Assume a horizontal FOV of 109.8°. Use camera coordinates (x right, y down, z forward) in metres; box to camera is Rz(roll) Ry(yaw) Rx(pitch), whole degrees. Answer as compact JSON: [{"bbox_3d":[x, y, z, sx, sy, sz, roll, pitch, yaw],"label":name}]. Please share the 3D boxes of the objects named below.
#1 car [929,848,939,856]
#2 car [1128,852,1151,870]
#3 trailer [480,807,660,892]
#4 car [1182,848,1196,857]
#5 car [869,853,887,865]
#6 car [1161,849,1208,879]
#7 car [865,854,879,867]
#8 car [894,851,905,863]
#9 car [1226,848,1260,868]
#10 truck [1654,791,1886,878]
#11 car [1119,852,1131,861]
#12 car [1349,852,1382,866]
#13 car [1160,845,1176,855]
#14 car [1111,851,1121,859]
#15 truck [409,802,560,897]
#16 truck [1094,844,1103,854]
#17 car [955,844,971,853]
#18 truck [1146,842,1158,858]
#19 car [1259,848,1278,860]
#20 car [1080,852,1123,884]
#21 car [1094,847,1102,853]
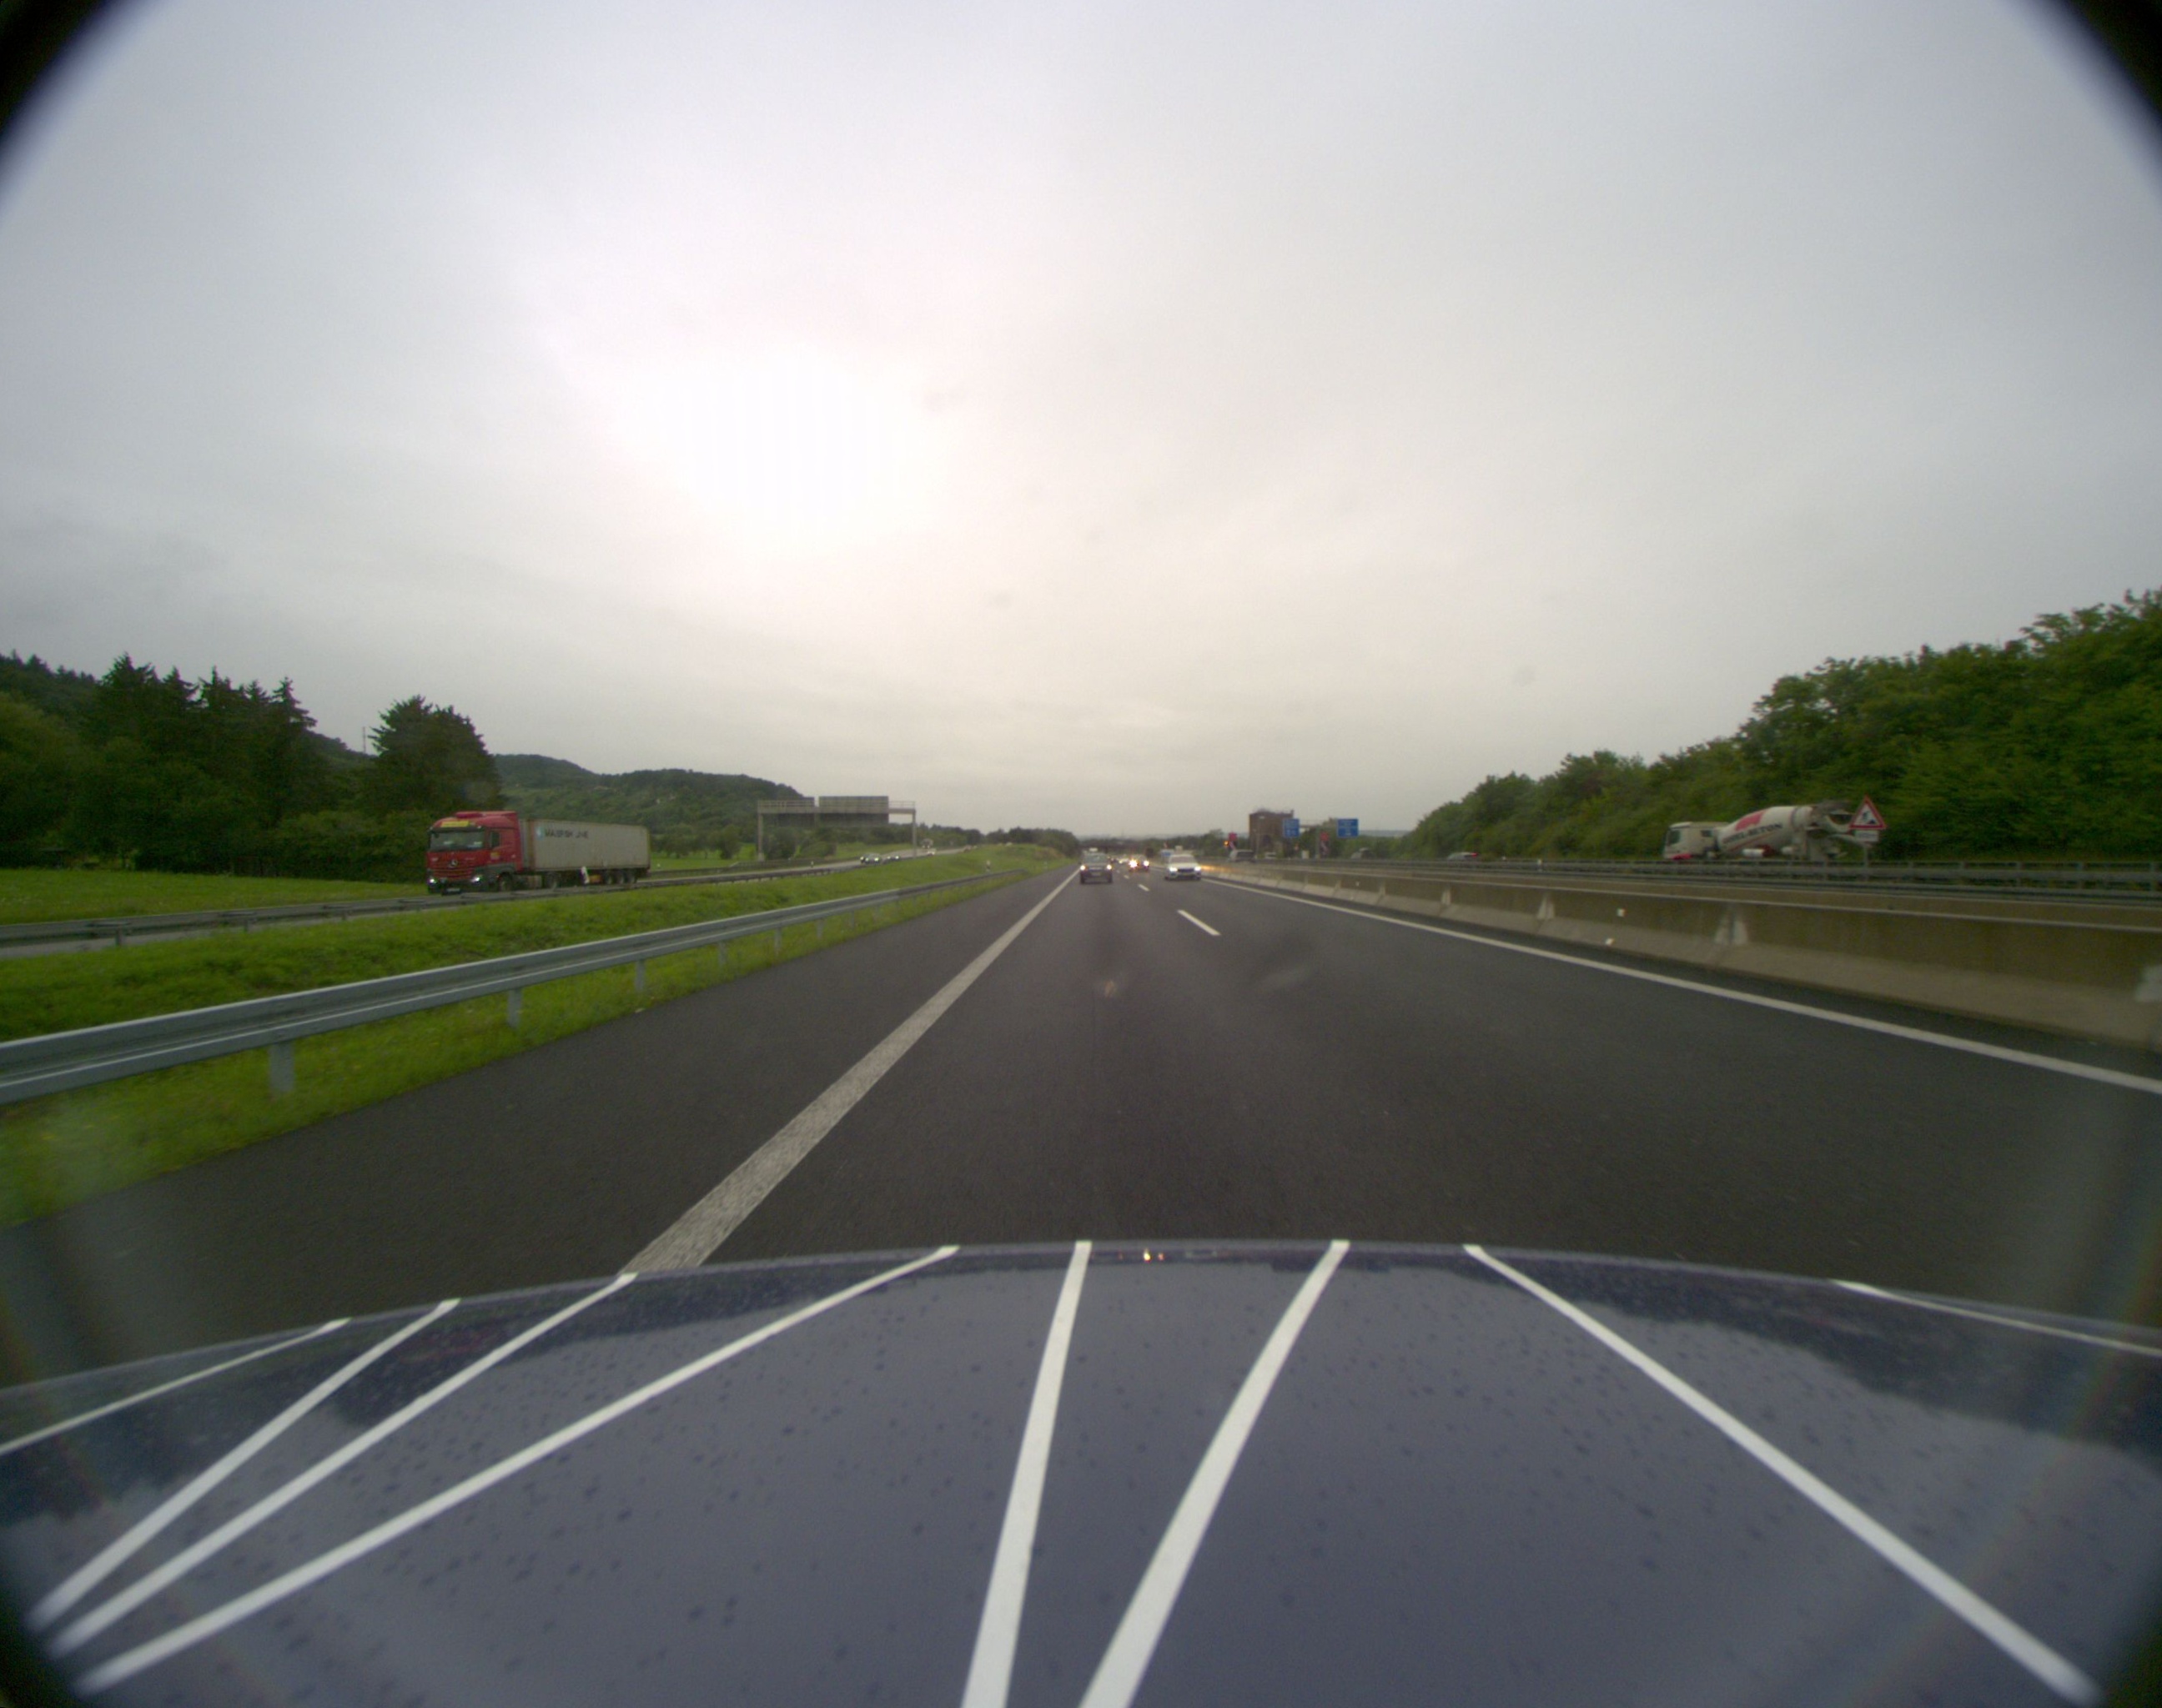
[{"bbox_3d":[-36.643,-0.411,189.190,1.999,2.002,3.998,-1,0,-3],"label":"car"},{"bbox_3d":[5.187,0.599,67.890,1.834,1.417,4.368,-2,0,2],"label":"car"},{"bbox_3d":[-28.064,-0.246,42.844,2.498,3.961,12.399,-3,1,-5],"label":"trailer"},{"bbox_3d":[19.905,-0.299,140.621,1.998,1.427,4.679,-2,0,1],"label":"car"},{"bbox_3d":[-29.947,0.701,112.044,2.000,1.710,4.315,-1,0,-8],"label":"car"},{"bbox_3d":[5.948,0.569,44.087,1.998,1.581,4.816,-2,0,0],"label":"car"},{"bbox_3d":[-35.203,1.062,127.954,1.653,2.002,3.997,-1,0,-7],"label":"car"},{"bbox_3d":[-31.649,0.550,132.572,1.654,2.002,3.996,-1,0,-9],"label":"car"},{"bbox_3d":[14.671,0.362,68.999,1.998,1.641,5.026,-2,0,0],"label":"car"},{"bbox_3d":[32.815,-0.851,36.989,2.692,3.640,9.557,-1,0,0],"label":"truck"},{"bbox_3d":[7.015,0.326,121.375,1.941,1.341,4.001,-2,0,3],"label":"car"},{"bbox_3d":[30.863,0.517,82.577,1.998,1.398,4.676,-1,0,2],"label":"car"},{"bbox_3d":[15.631,-0.740,137.281,2.363,1.683,5.907,-1,0,2],"label":"car"},{"bbox_3d":[7.343,0.238,161.587,1.998,1.565,4.000,-2,0,2],"label":"car"},{"bbox_3d":[-27.419,-0.200,35.307,2.515,3.964,5.925,-3,1,-5],"label":"truck"},{"bbox_3d":[5.824,-1.681,251.735,2.728,3.098,7.960,-3,0,1],"label":"truck"},{"bbox_3d":[-16.606,-0.776,107.007,1.483,1.259,3.503,-2,1,1],"label":"car"},{"bbox_3d":[22.721,-1.310,243.549,3.408,4.705,10.486,-2,0,3],"label":"truck"},{"bbox_3d":[30.934,-0.006,125.593,1.998,2.002,4.715,-2,1,0],"label":"car"},{"bbox_3d":[1.202,0.733,42.814,2.242,1.565,4.817,-2,0,3],"label":"car"},{"bbox_3d":[4.103,-0.964,186.505,1.941,1.341,4.000,-3,0,1],"label":"car"}]
